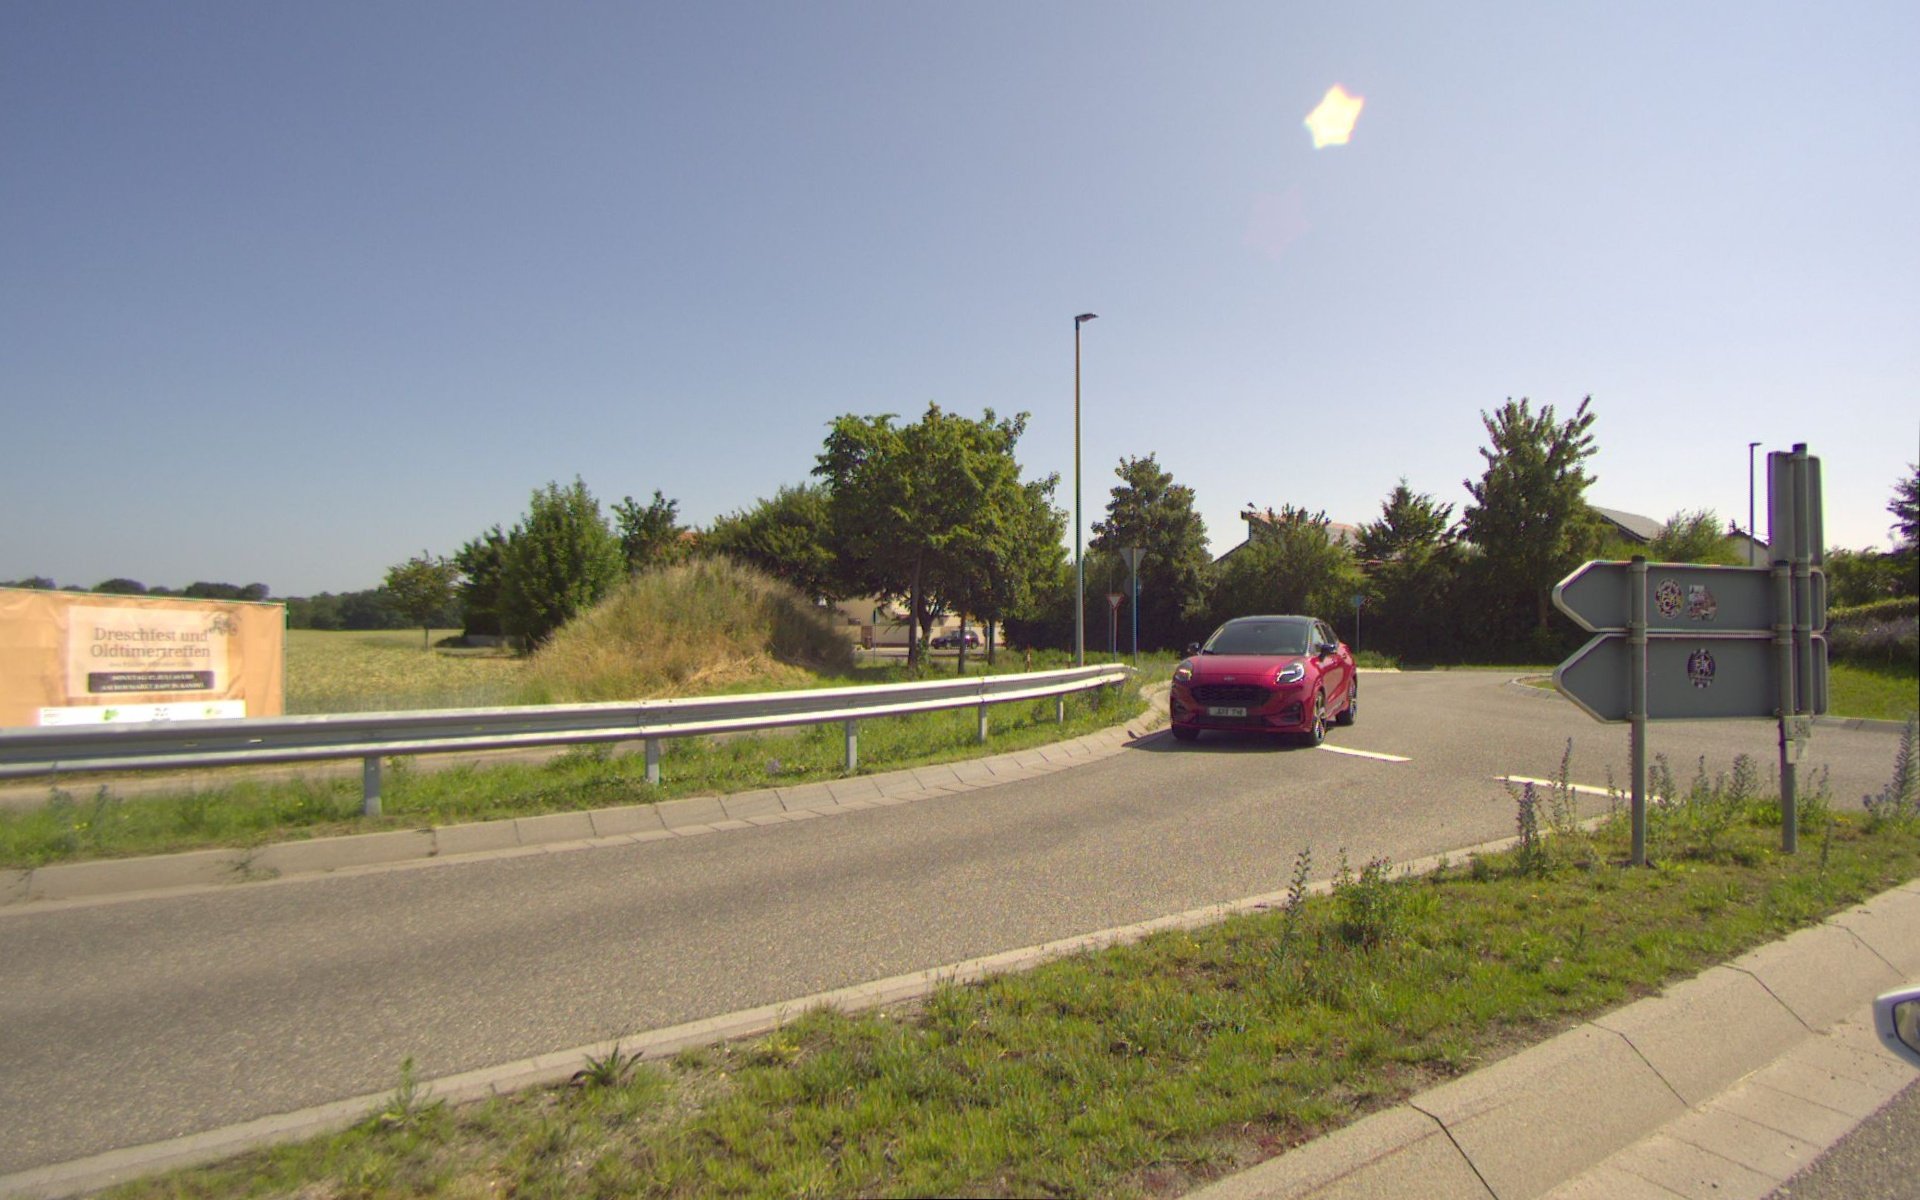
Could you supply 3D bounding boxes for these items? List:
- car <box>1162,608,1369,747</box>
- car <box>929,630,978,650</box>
[{"bbox_3d":[4.147,0.915,13.238,1.719,1.543,3.823,-2,-2,31],"label":"car"},{"bbox_3d":[-0.514,3.112,79.442,3.699,1.524,1.592,1,-1,-39],"label":"car"}]
